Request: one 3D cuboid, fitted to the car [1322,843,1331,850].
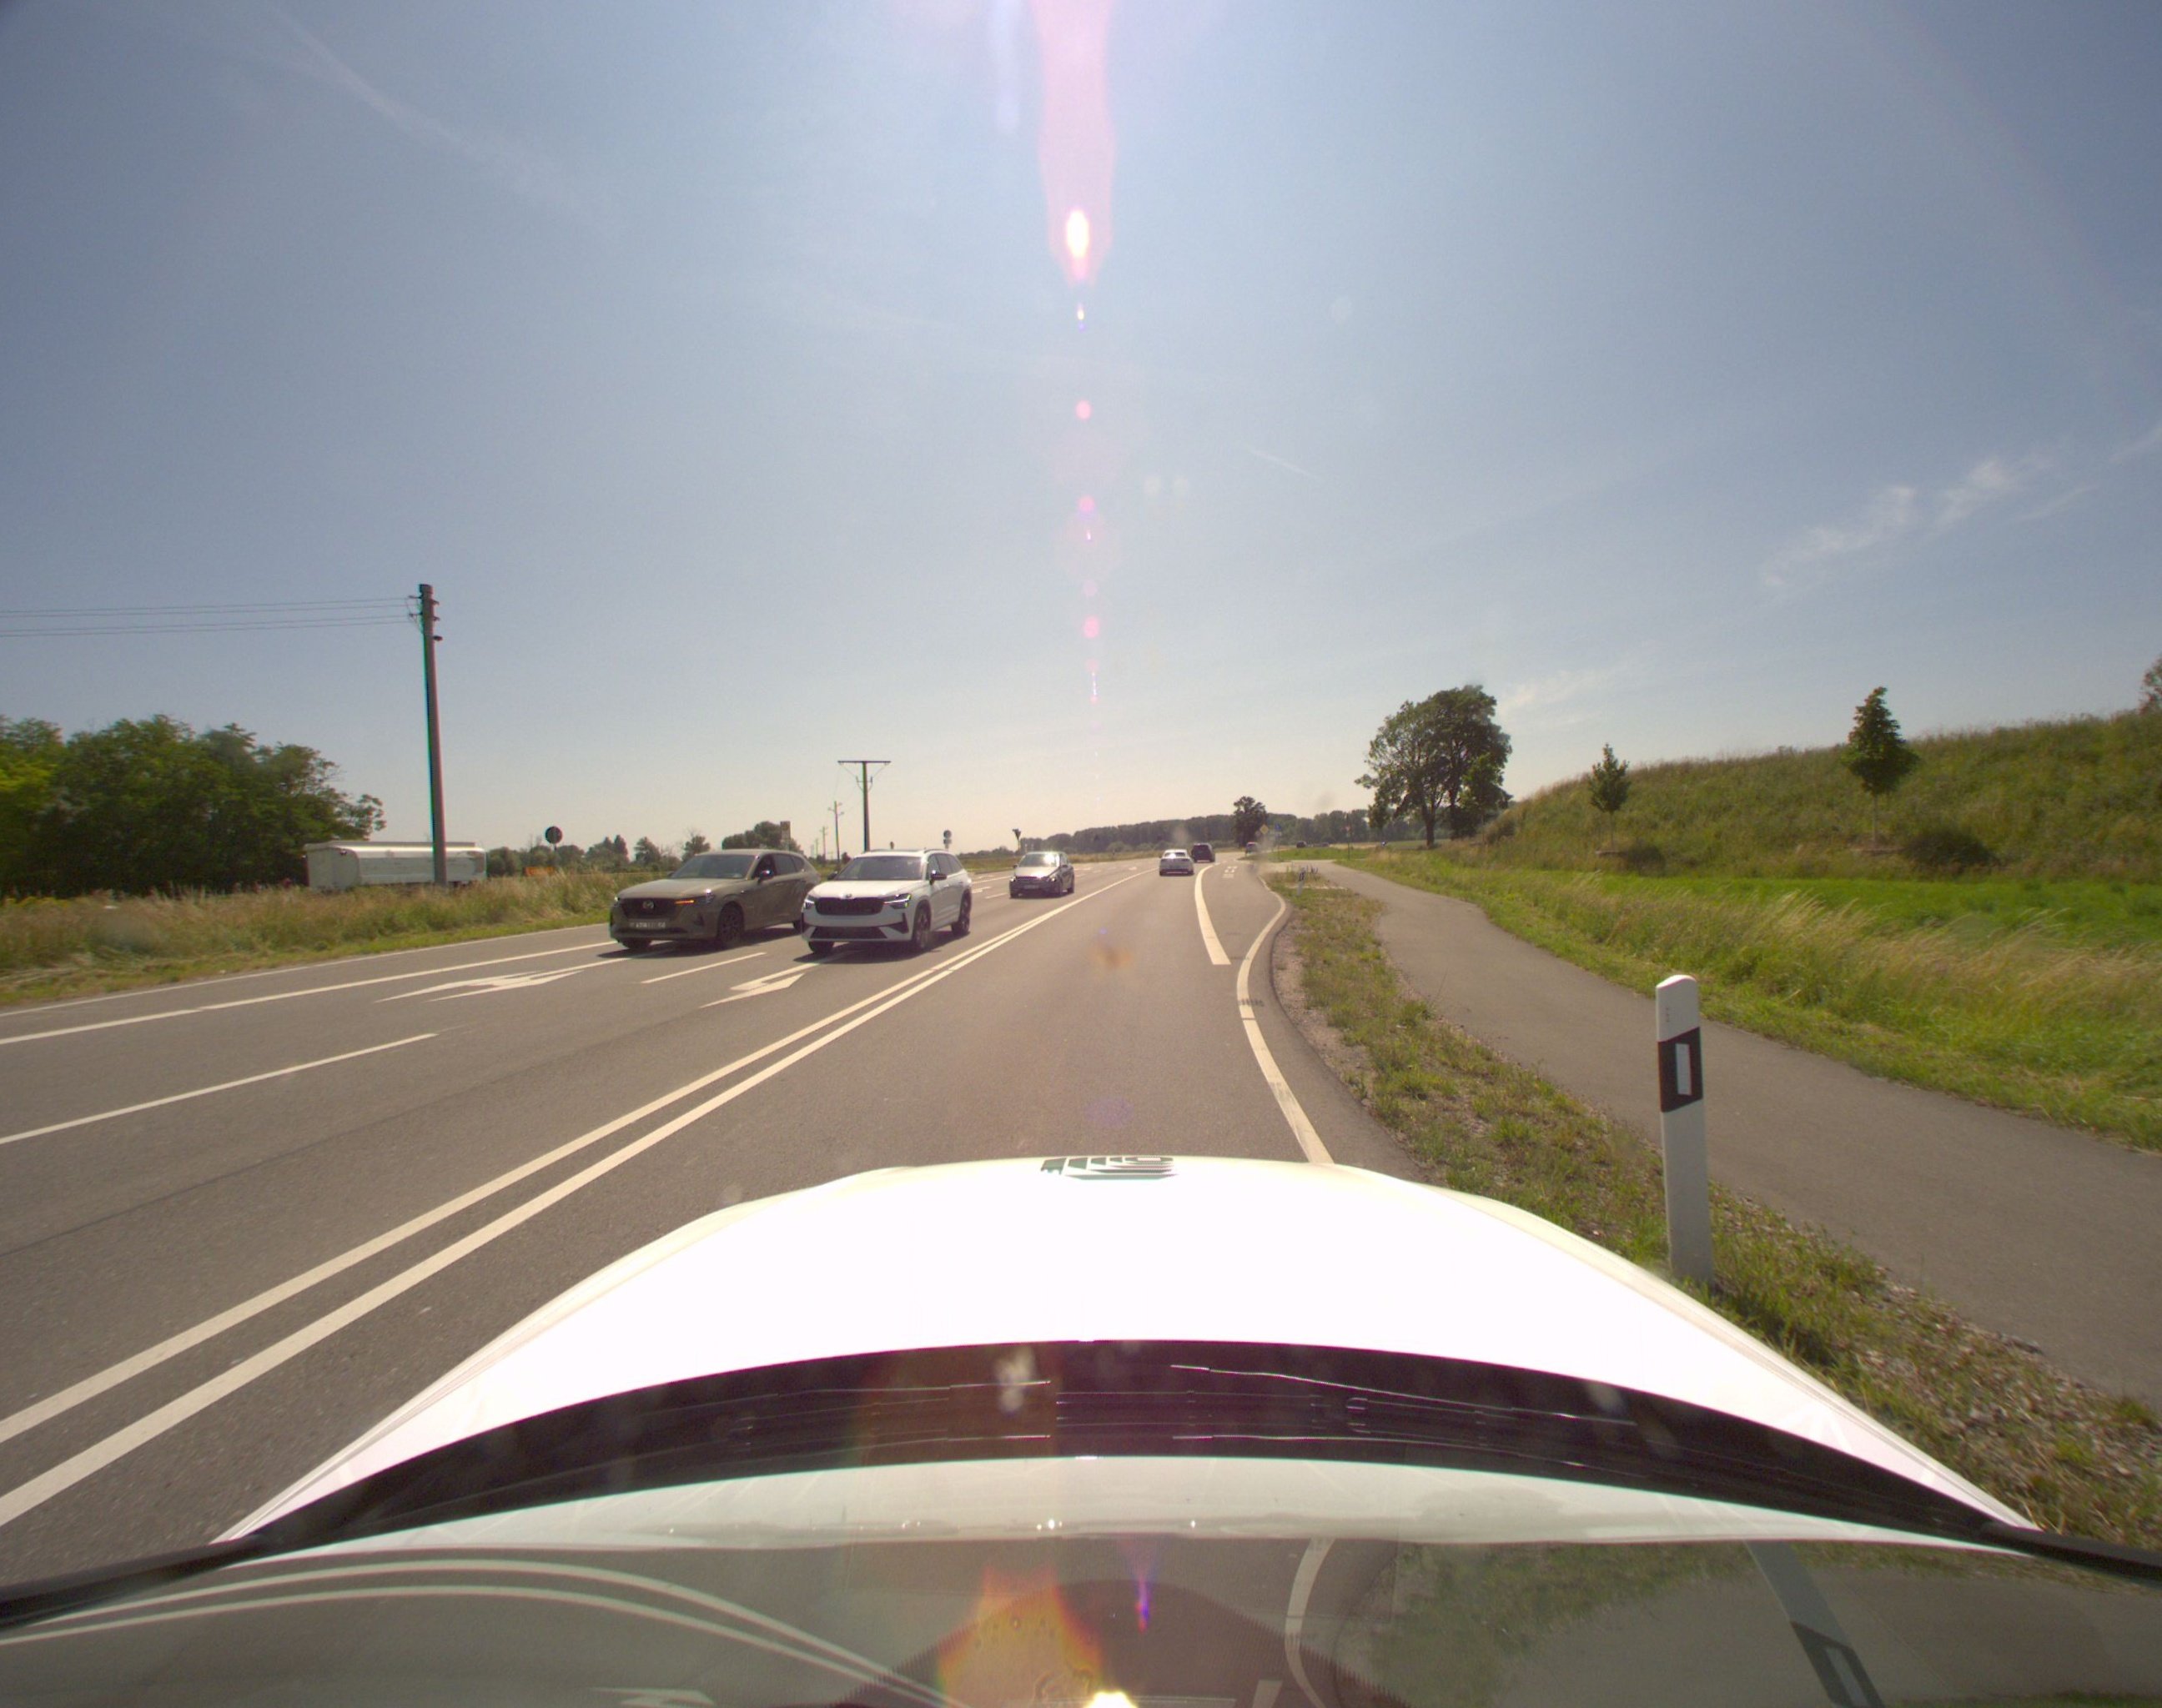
[{"bbox_3d":[62.281,-1.992,206.706,1.783,1.521,3.905,-4,0,24],"label":"car"}]

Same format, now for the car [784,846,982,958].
[{"bbox_3d":[-3.243,0.727,14.500,1.869,1.650,4.851,-1,0,6],"label":"car"}]

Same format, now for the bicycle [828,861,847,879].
[{"bbox_3d":[-16.810,1.102,56.165,0.487,1.248,1.517,-1,-1,16],"label":"bicycle"}]

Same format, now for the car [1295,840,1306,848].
[{"bbox_3d":[44.268,-2.020,164.190,1.784,1.476,4.437,-4,-2,20],"label":"car"}]

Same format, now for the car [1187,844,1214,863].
[{"bbox_3d":[10.581,-0.040,71.976,1.921,1.616,4.395,-1,-1,14],"label":"car"}]

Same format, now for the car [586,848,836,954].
[{"bbox_3d":[-6.648,0.746,15.392,1.950,1.650,4.801,-1,0,8],"label":"car"}]

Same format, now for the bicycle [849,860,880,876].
[{"bbox_3d":[-19.760,1.283,74.394,2.604,1.372,0.900,-3,-2,-5],"label":"bicycle"}]

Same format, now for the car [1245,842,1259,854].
[{"bbox_3d":[23.550,-0.812,112.352,1.788,1.429,4.106,-4,-2,12],"label":"car"}]

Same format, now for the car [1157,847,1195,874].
[{"bbox_3d":[5.483,0.400,46.519,1.836,1.433,4.621,-1,-1,10],"label":"car"}]

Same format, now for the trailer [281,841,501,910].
[{"bbox_3d":[-27.223,0.742,32.595,2.660,2.456,6.403,-1,0,11],"label":"trailer"}]

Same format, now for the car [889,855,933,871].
[{"bbox_3d":[-14.155,0.725,68.012,1.677,1.332,4.056,-1,0,19],"label":"car"}]

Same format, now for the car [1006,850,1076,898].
[{"bbox_3d":[-1.356,0.662,29.444,1.722,1.555,4.390,-1,0,8],"label":"car"}]

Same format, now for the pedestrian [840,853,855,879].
[{"bbox_3d":[-16.173,0.824,56.409,0.604,1.785,0.850,-1,-1,17],"label":"pedestrian"}]
